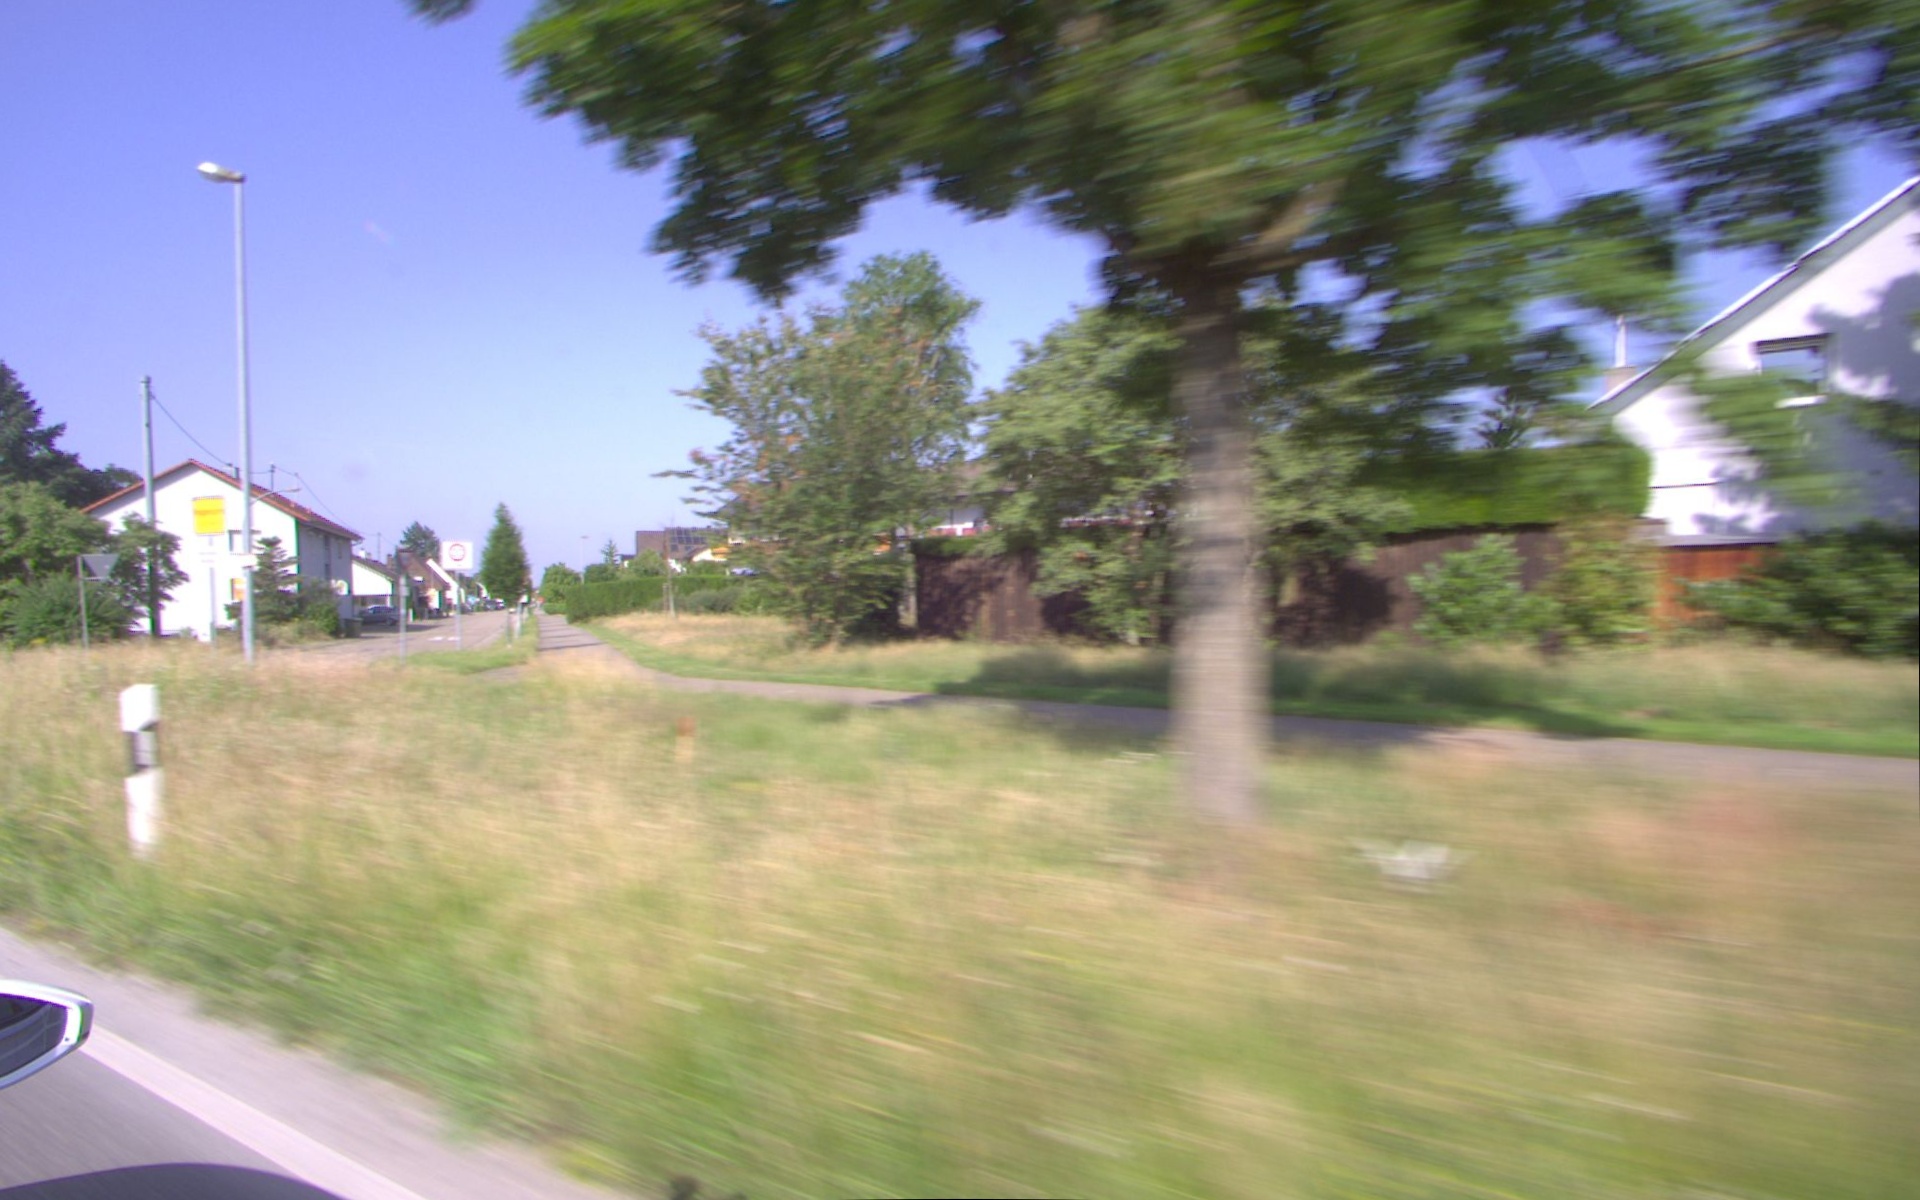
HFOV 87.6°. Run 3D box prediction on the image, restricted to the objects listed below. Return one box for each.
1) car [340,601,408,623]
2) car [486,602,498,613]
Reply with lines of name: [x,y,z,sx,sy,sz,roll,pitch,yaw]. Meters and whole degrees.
car: [-46.945,0.968,80.320,4.383,1.720,1.767,0,-1,-18]
car: [-89.590,1.437,191.509,1.969,2.040,3.984,0,-1,-26]
